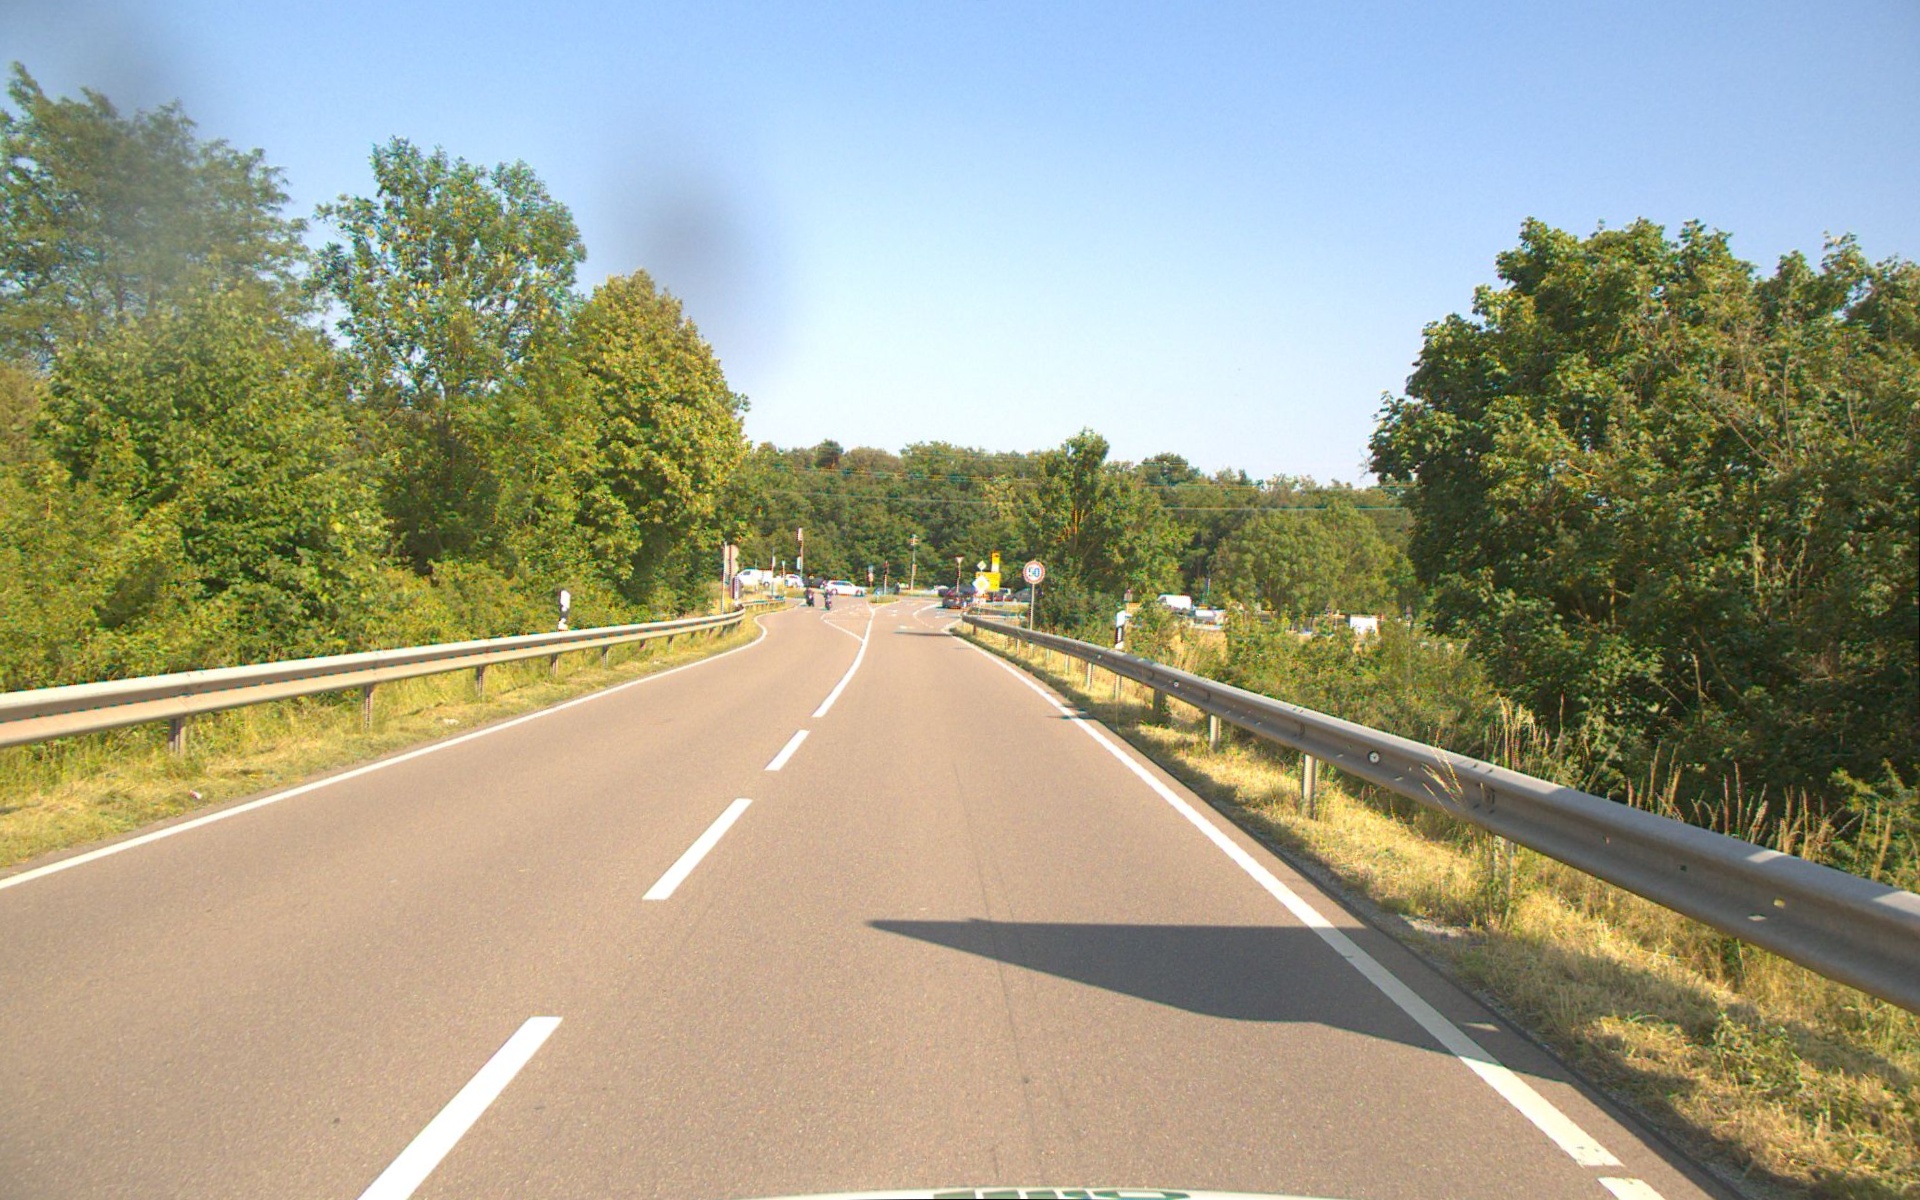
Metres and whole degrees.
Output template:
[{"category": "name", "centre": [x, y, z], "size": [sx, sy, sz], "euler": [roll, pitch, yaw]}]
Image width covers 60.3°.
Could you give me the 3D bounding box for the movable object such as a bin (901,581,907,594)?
[{"category": "movable object such as a bin", "centre": [-6.489, -1.480, 191.988], "size": [0.589, 1.514, 0.732], "euler": [1, 0, 5]}]

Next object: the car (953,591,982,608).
[{"category": "car", "centre": [0.752, -0.065, 161.134], "size": [1.761, 1.527, 4.003], "euler": [3, 1, 15]}]

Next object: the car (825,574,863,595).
[{"category": "car", "centre": [-12.185, -1.636, 173.867], "size": [3.911, 2.048, 1.798], "euler": [2, 1, -7]}]

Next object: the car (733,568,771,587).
[{"category": "car", "centre": [-22.857, -2.434, 182.017], "size": [3.921, 2.049, 1.992], "euler": [1, 0, -16]}]

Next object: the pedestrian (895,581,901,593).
[{"category": "pedestrian", "centre": [-7.174, -1.483, 191.339], "size": [0.512, 1.415, 0.513], "euler": [1, 0, 24]}]

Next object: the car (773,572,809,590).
[{"category": "car", "centre": [-20.181, -2.296, 197.200], "size": [3.934, 2.049, 1.783], "euler": [1, 0, -24]}]

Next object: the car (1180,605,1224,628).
[{"category": "car", "centre": [24.213, 1.622, 165.535], "size": [3.924, 1.909, 1.883], "euler": [6, 1, 38]}]

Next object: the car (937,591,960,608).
[{"category": "car", "centre": [-1.045, -0.072, 153.628], "size": [1.762, 1.422, 4.002], "euler": [-3, 0, 3]}]
